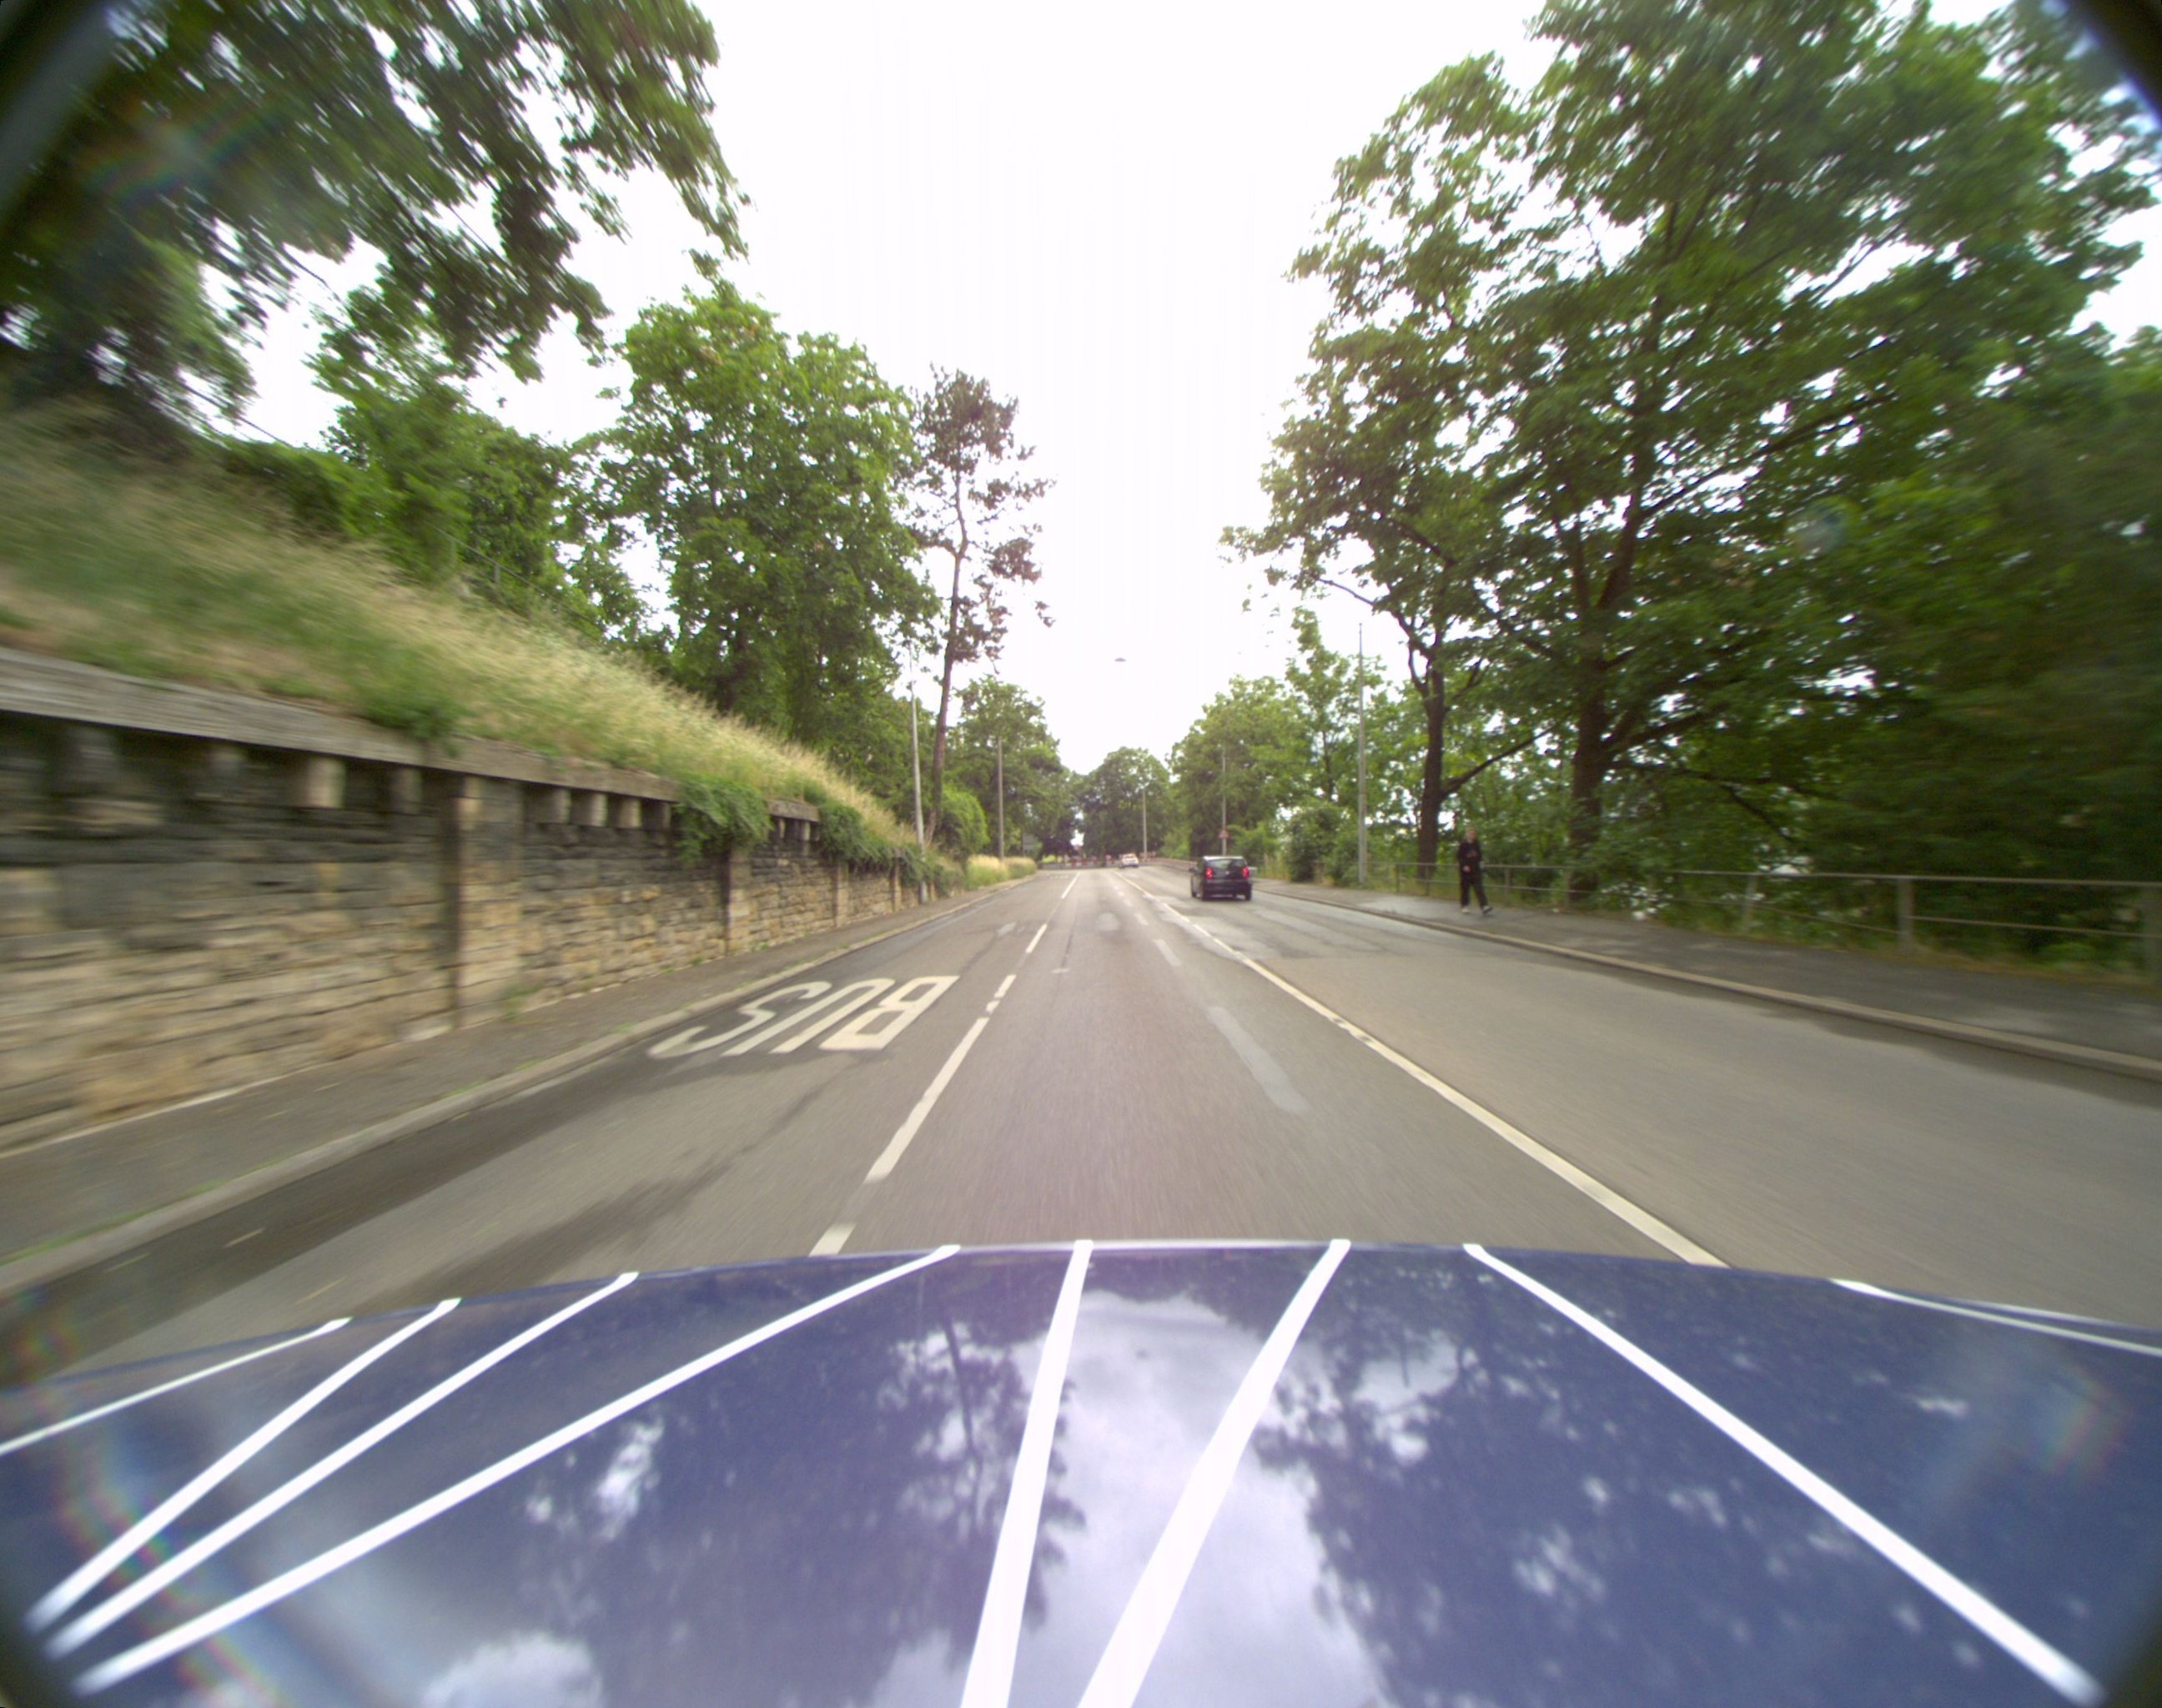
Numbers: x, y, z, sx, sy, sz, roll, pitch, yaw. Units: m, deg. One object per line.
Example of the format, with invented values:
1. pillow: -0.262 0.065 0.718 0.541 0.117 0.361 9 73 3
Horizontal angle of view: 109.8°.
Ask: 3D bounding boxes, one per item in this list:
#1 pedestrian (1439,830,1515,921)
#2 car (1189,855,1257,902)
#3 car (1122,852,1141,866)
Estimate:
1. pedestrian: 8.173 0.427 15.748 0.790 1.764 1.209 -5 0 -2
2. car: 4.699 0.772 25.584 1.673 1.439 3.688 -1 0 1
3. car: 5.363 0.479 80.870 1.799 1.419 4.143 -2 0 1
